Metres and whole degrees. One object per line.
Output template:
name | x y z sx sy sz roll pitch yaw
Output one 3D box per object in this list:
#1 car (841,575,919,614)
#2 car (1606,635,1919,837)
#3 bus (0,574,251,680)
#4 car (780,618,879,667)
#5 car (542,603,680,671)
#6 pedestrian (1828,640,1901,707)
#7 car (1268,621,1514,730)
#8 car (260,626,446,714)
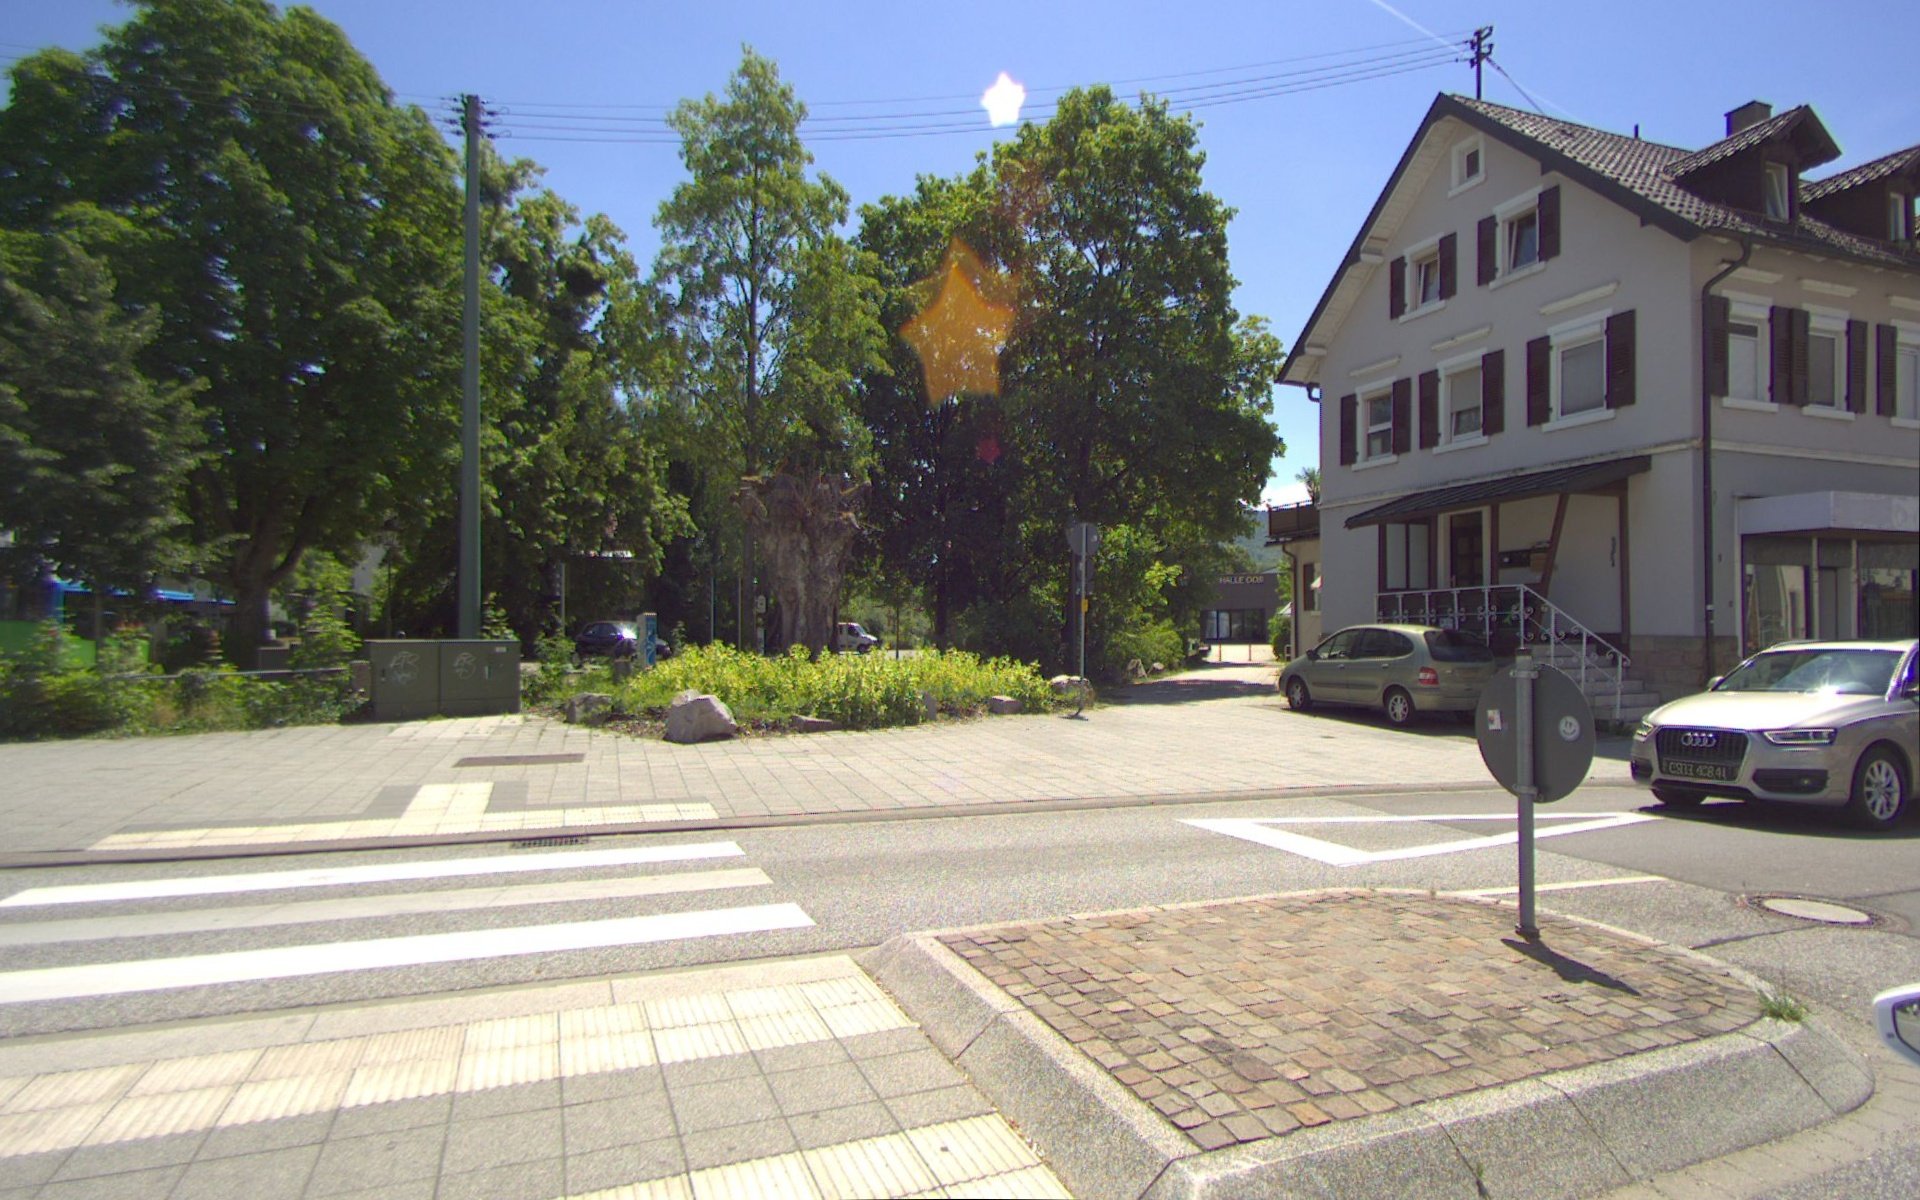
car | -4.305 -0.291 54.440 3.919 2.040 2.001 0 -1 4
car | 8.235 1.126 9.286 4.021 1.563 1.674 1 -4 -20
bus | -32.531 1.108 38.928 3.663 3.212 17.986 2 -3 -20
car | -5.582 1.800 42.858 3.934 2.040 1.994 1 -1 -16
car | -11.116 1.150 31.992 3.927 2.040 1.997 -1 -1 28
pedestrian | 14.929 1.202 16.587 0.690 1.068 0.668 1 -1 -24
car | 7.323 1.213 17.530 1.731 1.661 3.983 1 -2 -19
car | -11.899 1.310 19.741 3.029 1.573 1.618 1 -1 -36
